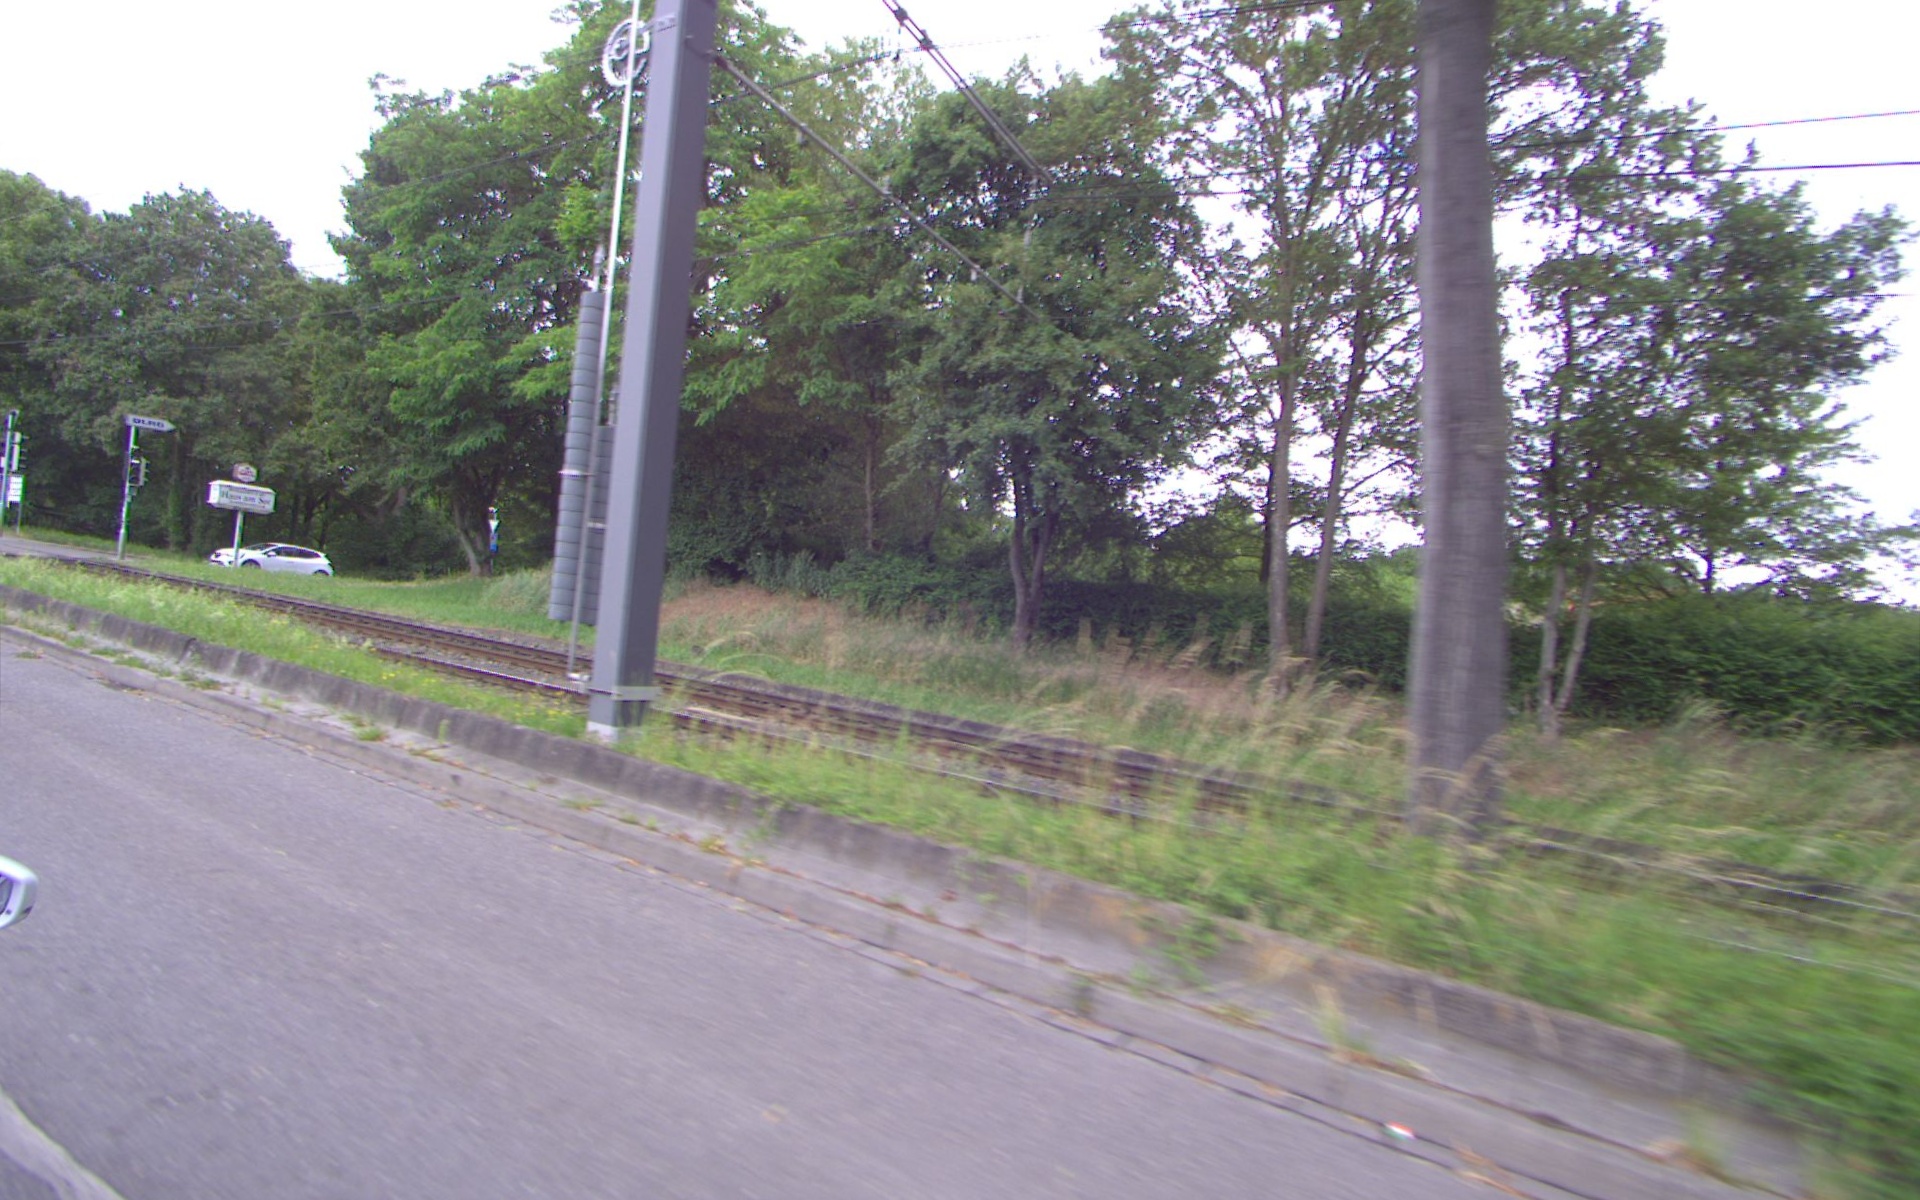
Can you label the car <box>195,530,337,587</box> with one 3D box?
[{"bbox_3d":[-26.959,-1.595,39.222,1.965,1.368,4.005,7,-5,26],"label":"car"}]
